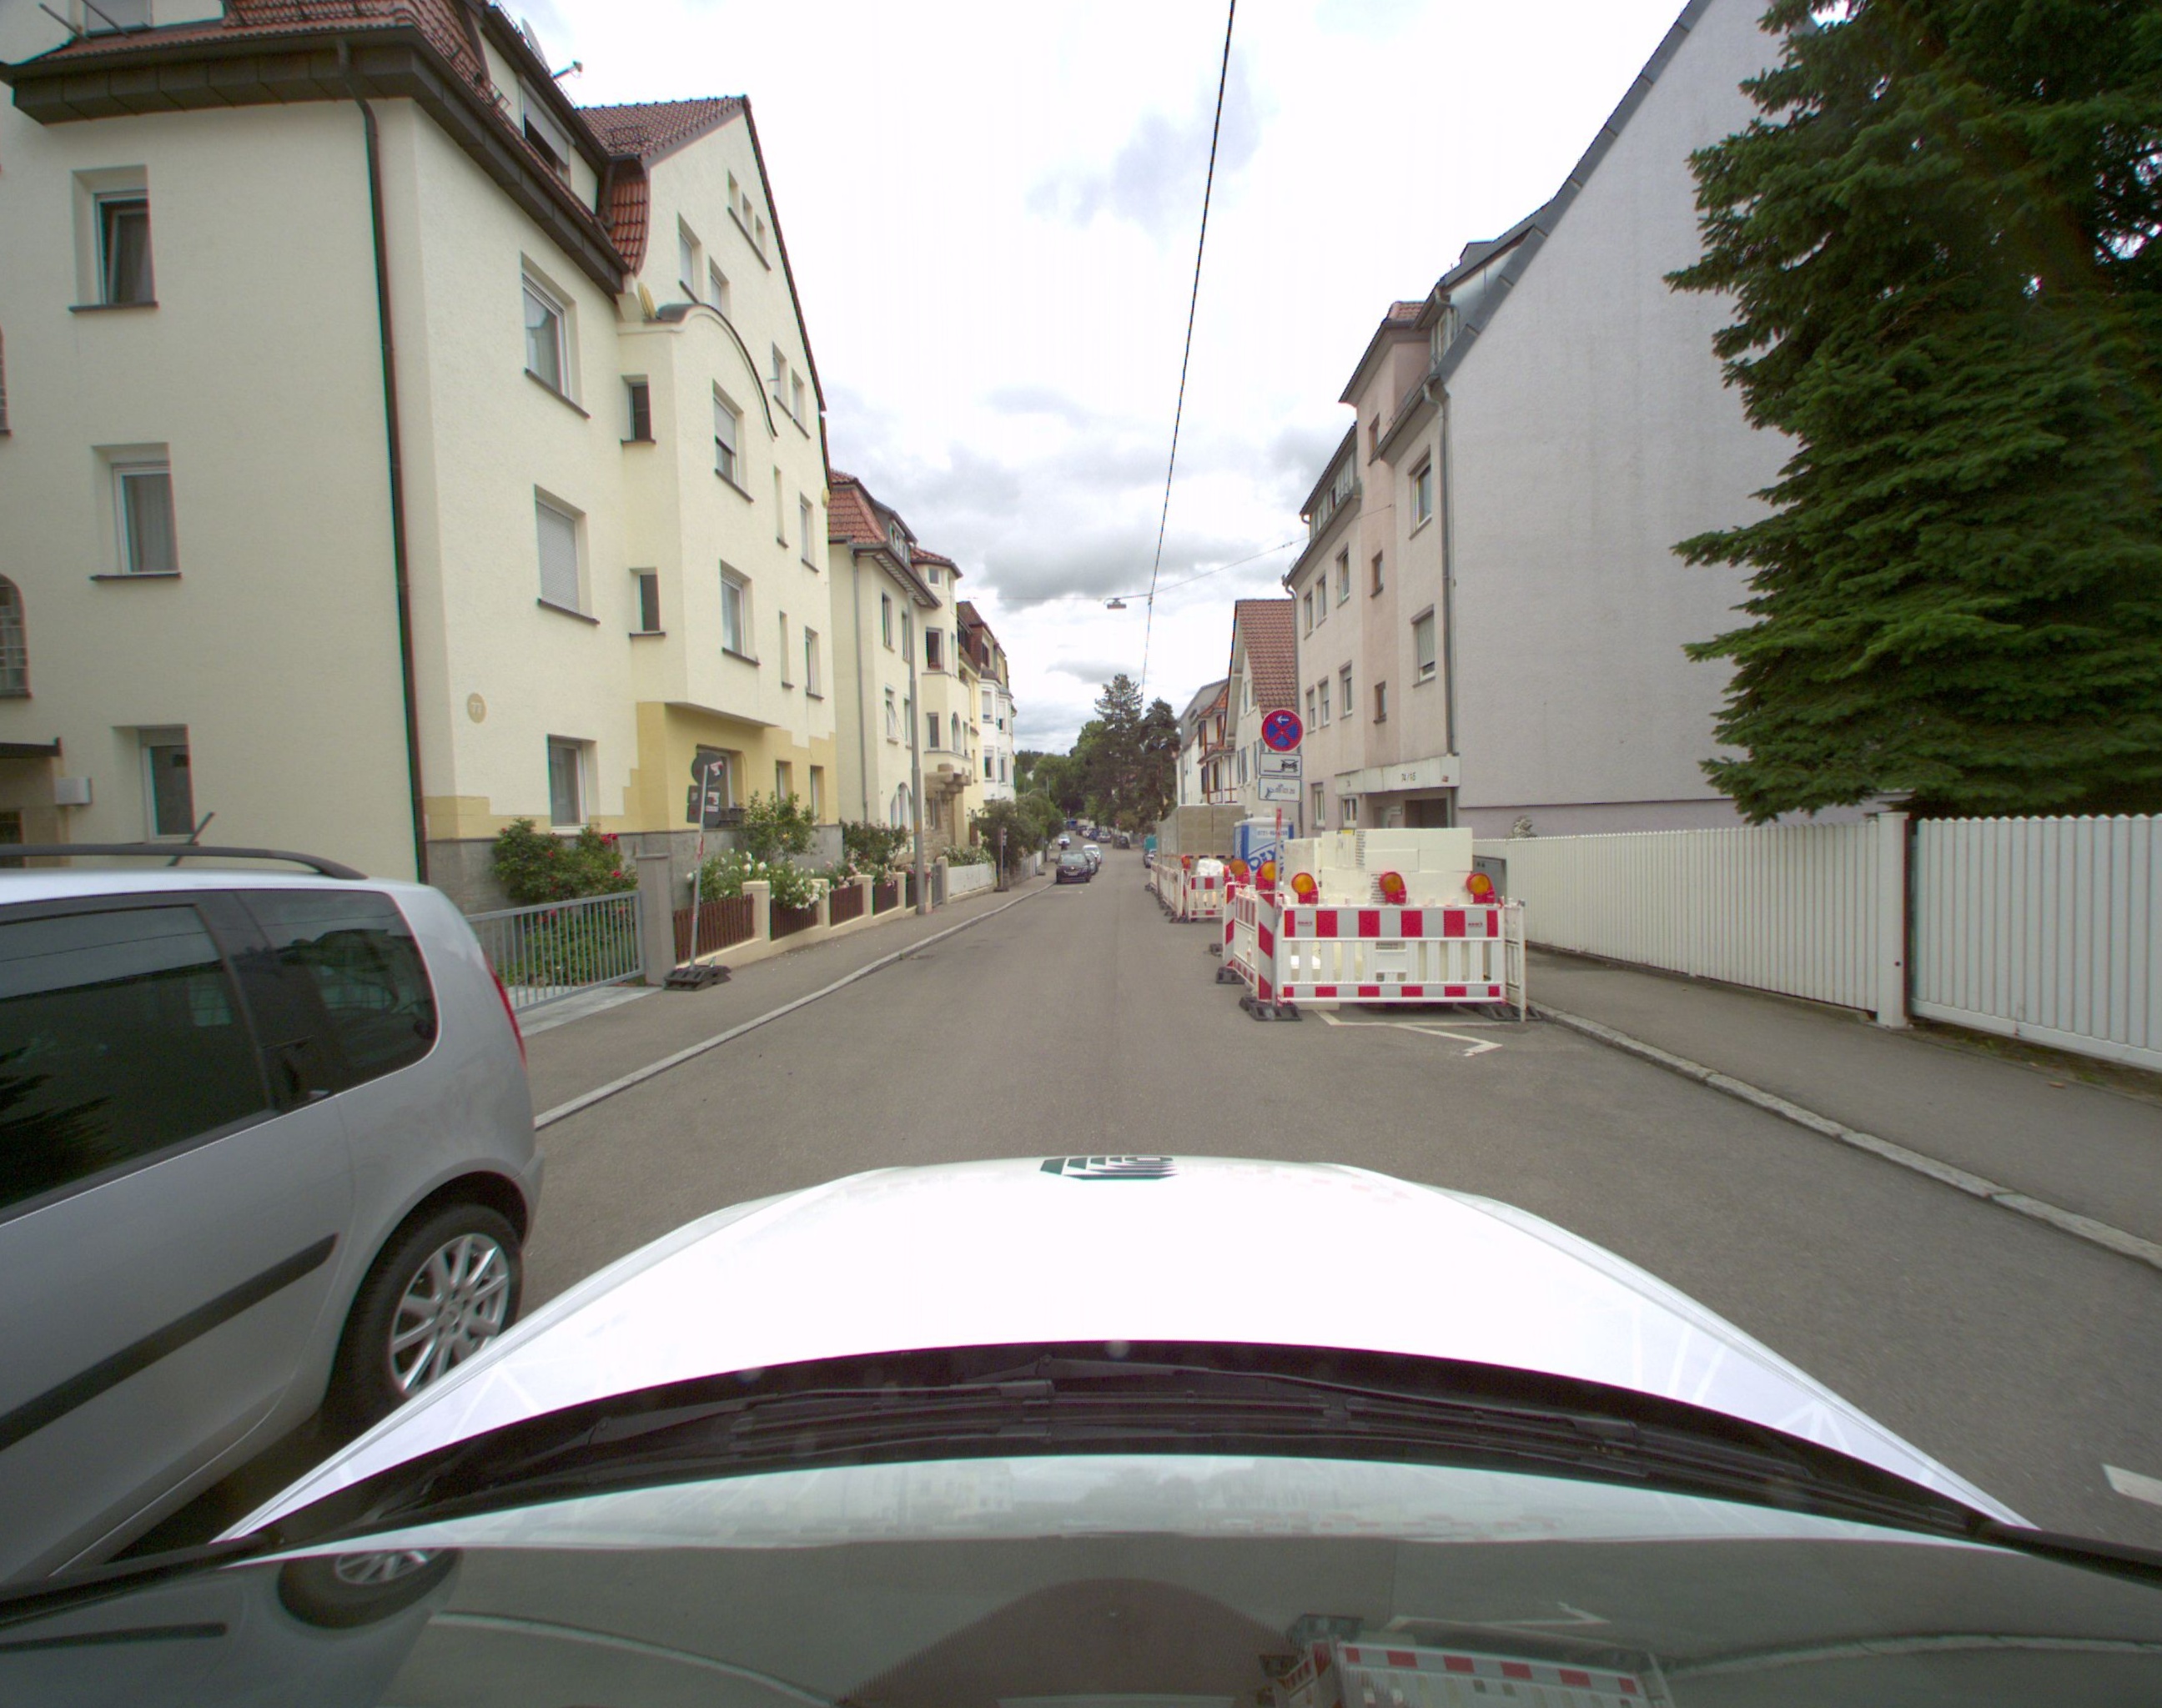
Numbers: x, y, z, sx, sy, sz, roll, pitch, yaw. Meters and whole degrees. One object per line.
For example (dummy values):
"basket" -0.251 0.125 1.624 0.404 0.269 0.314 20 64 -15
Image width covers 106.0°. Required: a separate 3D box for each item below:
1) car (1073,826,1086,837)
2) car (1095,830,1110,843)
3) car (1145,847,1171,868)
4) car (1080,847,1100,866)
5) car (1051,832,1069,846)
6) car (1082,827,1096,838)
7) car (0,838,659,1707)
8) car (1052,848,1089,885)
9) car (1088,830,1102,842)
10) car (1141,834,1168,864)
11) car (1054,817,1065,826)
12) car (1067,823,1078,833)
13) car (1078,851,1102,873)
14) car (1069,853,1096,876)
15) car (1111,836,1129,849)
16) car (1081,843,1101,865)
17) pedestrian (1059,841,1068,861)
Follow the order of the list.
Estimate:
"car" -0.297 -3.546 128.565 1.632 1.537 3.523 0 4 -7
"car" 2.898 -2.425 111.994 1.632 1.483 3.523 0 4 -7
"car" 5.939 0.264 63.302 1.718 1.448 3.882 -1 2 1
"car" 0.826 0.228 69.570 1.590 1.412 3.664 -2 2 1
"car" -2.842 -2.063 109.610 1.673 1.656 3.850 -3 3 -11
"car" 1.220 -3.239 122.766 1.632 1.537 3.523 0 4 -7
"car" -2.702 0.817 1.200 1.839 1.631 4.287 -2 1 0
"car" -0.568 0.638 44.834 1.839 1.815 4.543 -2 0 -1
"car" 1.978 -2.618 116.645 1.632 1.483 3.523 0 4 -7
"car" 6.220 -0.452 69.702 1.973 2.362 4.279 -1 2 1
"car" -4.067 -6.130 153.331 1.632 1.537 3.523 0 4 -7
"car" -1.566 -4.627 143.113 1.632 1.537 3.523 0 4 -7
"car" 0.689 0.562 59.940 1.590 1.478 3.992 -2 1 1
"car" 0.146 0.669 55.125 1.636 1.416 3.985 -2 1 1
"car" 4.769 -1.437 100.048 1.632 1.483 3.525 0 4 -5
"car" 0.921 -0.015 73.676 1.666 1.656 3.866 -2 3 1
"pedestrian" -1.676 -0.287 77.604 0.787 1.932 0.921 0 1 5
